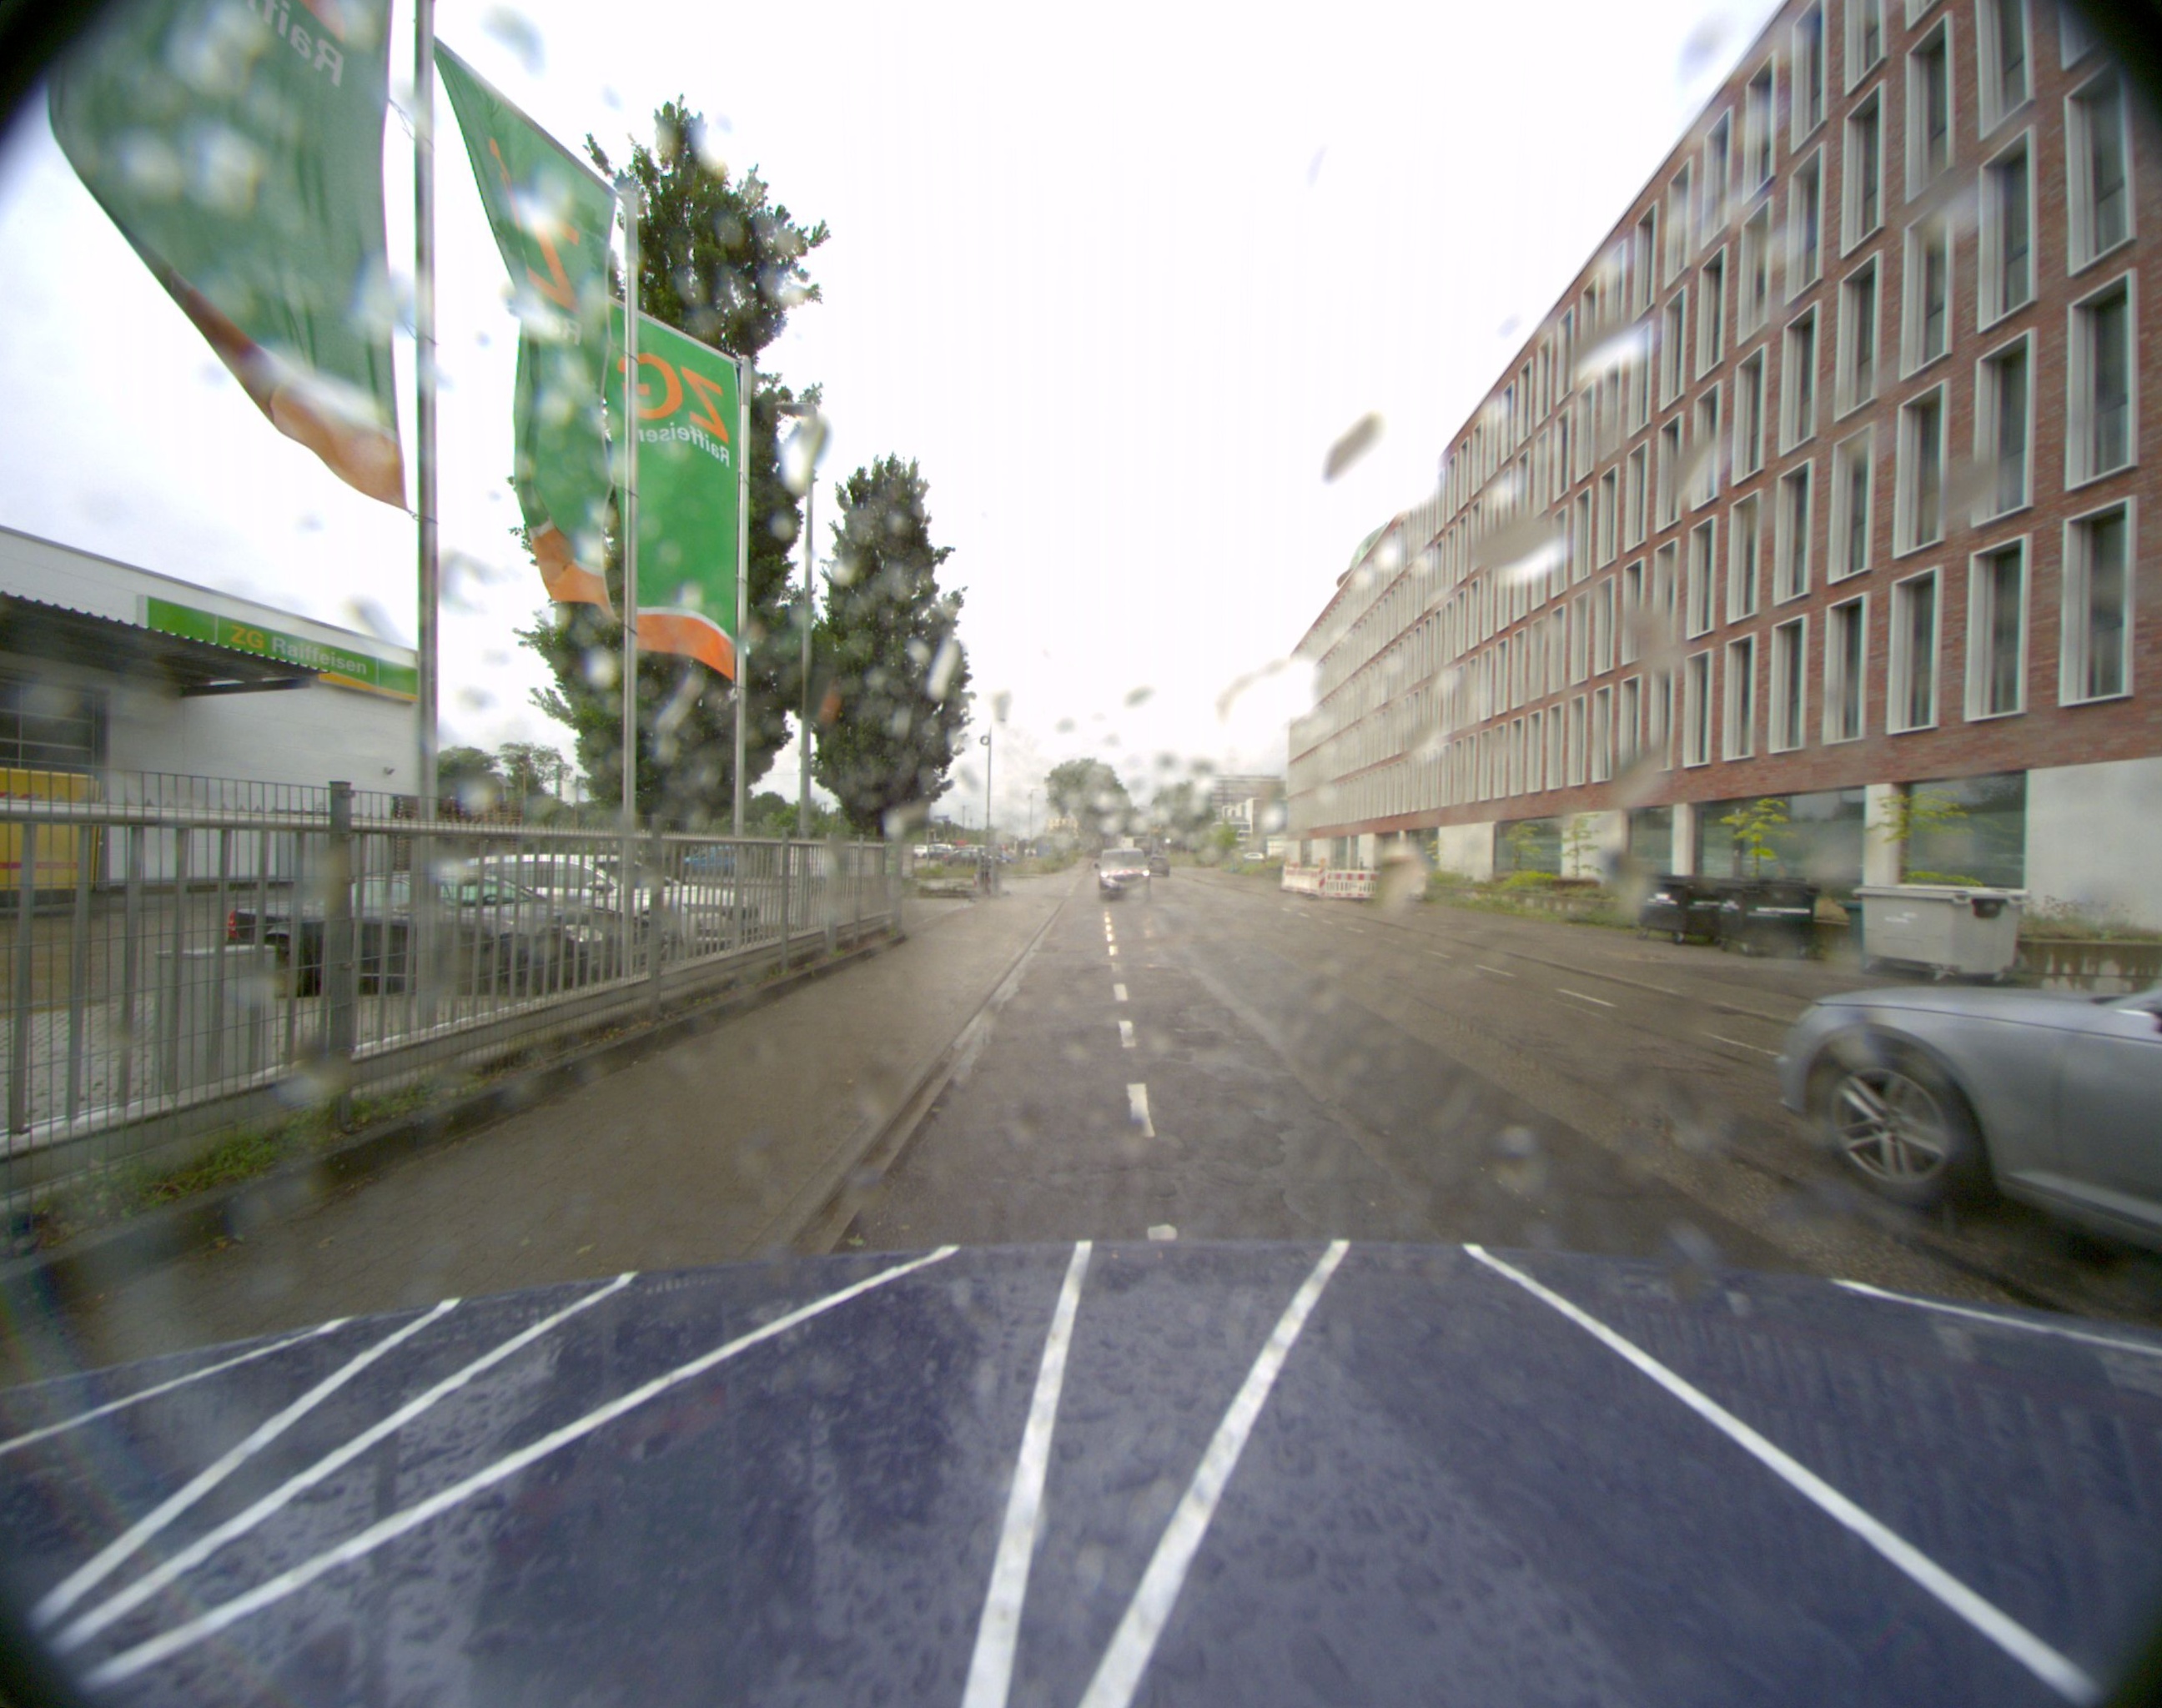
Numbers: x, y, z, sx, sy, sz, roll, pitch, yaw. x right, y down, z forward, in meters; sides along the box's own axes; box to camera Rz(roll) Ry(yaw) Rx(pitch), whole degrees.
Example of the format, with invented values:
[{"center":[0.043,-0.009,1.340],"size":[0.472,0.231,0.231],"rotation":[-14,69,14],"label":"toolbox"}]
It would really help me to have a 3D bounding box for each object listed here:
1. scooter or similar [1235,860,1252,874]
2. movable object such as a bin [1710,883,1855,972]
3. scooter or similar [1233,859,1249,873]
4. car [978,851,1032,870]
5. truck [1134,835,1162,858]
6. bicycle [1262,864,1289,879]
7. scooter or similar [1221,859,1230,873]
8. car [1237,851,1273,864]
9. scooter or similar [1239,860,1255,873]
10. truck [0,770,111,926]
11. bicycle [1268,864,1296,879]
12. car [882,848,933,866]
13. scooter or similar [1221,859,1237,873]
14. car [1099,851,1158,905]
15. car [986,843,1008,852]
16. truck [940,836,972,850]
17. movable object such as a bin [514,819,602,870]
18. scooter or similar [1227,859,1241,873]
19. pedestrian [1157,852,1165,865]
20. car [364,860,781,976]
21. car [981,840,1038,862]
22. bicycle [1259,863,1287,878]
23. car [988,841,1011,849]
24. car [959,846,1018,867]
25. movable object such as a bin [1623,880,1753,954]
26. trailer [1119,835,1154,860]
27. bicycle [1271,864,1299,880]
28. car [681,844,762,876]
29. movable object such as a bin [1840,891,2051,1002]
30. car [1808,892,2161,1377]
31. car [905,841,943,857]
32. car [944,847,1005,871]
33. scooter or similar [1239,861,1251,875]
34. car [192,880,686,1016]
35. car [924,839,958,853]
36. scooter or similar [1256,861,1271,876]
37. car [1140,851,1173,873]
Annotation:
[{"center":[14.457,1.177,67.700],"size":[1.321,1.171,0.467],"rotation":[2,1,-10],"label":"scooter or similar"},{"center":[11.802,1.192,12.880],"size":[1.375,1.301,1.451],"rotation":[1,1,23],"label":"movable object such as a bin"},{"center":[14.639,1.104,69.568],"size":[1.319,1.171,0.467],"rotation":[2,1,7],"label":"scooter or similar"},{"center":[-6.380,0.550,63.901],"size":[4.305,1.508,1.819],"rotation":[0,2,2],"label":"car"},{"center":[13.846,-1.535,157.417],"size":[3.295,4.627,6.045],"rotation":[2,1,33],"label":"truck"},{"center":[14.462,1.266,56.432],"size":[1.864,1.071,0.544],"rotation":[-1,1,1],"label":"bicycle"},{"center":[13.319,1.078,70.040],"size":[0.467,1.223,1.320],"rotation":[2,1,-1],"label":"scooter or similar"},{"center":[24.568,0.499,107.364],"size":[4.533,1.632,1.999],"rotation":[1,1,-1],"label":"car"},{"center":[15.070,1.142,68.998],"size":[1.319,1.171,0.467],"rotation":[2,1,7],"label":"scooter or similar"},{"center":[-19.599,-0.135,10.579],"size":[2.306,2.644,7.418],"rotation":[2,0,5],"label":"truck"},{"center":[14.475,1.277,54.831],"size":[1.864,1.071,0.544],"rotation":[-1,1,1],"label":"bicycle"},{"center":[-17.099,0.323,74.946],"size":[4.632,1.706,2.018],"rotation":[0,2,-4],"label":"car"},{"center":[13.141,1.078,67.386],"size":[1.317,1.223,0.468],"rotation":[2,1,31],"label":"scooter or similar"},{"center":[1.631,0.804,27.311],"size":[1.838,1.714,4.172],"rotation":[1,1,1],"label":"car"},{"center":[-16.219,-1.255,146.479],"size":[3.961,1.419,1.821],"rotation":[3,2,4],"label":"car"},{"center":[-22.731,-1.951,138.475],"size":[5.301,2.354,2.153],"rotation":[2,1,1],"label":"truck"},{"center":[-32.092,-0.571,46.685],"size":[3.997,2.975,2.000],"rotation":[1,1,1],"label":"movable object such as a bin"},{"center":[13.823,1.110,68.678],"size":[0.468,1.223,1.317],"rotation":[1,1,-27],"label":"scooter or similar"},{"center":[10.776,0.613,102.147],"size":[0.910,1.708,1.026],"rotation":[1,2,2],"label":"pedestrian"},{"center":[-7.056,0.849,10.926],"size":[4.715,1.454,1.890],"rotation":[0,0,0],"label":"car"},{"center":[-6.317,-0.315,67.512],"size":[4.690,1.725,2.128],"rotation":[2,2,6],"label":"car"},{"center":[14.452,1.259,57.249],"size":[1.953,1.071,0.620],"rotation":[-1,1,1],"label":"bicycle"},{"center":[-15.972,-1.766,149.258],"size":[4.074,1.482,1.926],"rotation":[3,2,4],"label":"car"},{"center":[-7.062,0.163,58.197],"size":[4.191,1.501,1.890],"rotation":[0,2,2],"label":"car"},{"center":[11.647,1.180,14.661],"size":[1.299,1.301,1.448],"rotation":[1,1,-4],"label":"movable object such as a bin"},{"center":[11.219,-1.290,151.108],"size":[3.297,4.627,13.752],"rotation":[2,1,20],"label":"trailer"},{"center":[14.474,1.292,53.973],"size":[1.864,1.071,0.544],"rotation":[-1,1,1],"label":"bicycle"},{"center":[-21.883,0.357,46.338],"size":[3.997,1.911,1.831],"rotation":[1,0,1],"label":"car"},{"center":[11.718,1.213,10.377],"size":[1.299,1.324,1.358],"rotation":[1,1,0],"label":"movable object such as a bin"},{"center":[4.213,0.957,1.313],"size":[1.737,1.442,4.381],"rotation":[4,0,2],"label":"car"},{"center":[-17.901,-0.593,86.721],"size":[3.837,1.476,1.928],"rotation":[4,2,5],"label":"car"},{"center":[-7.650,0.342,54.925],"size":[4.230,1.392,1.889],"rotation":[3,2,-6],"label":"car"},{"center":[14.264,1.200,66.061],"size":[0.466,1.201,1.211],"rotation":[3,1,44],"label":"scooter or similar"},{"center":[-6.674,0.944,8.211],"size":[3.948,1.249,1.619],"rotation":[0,1,0],"label":"car"},{"center":[-17.963,-1.020,97.778],"size":[3.911,1.575,1.786],"rotation":[4,2,5],"label":"car"},{"center":[15.407,1.206,64.171],"size":[1.228,1.201,0.418],"rotation":[2,1,9],"label":"scooter or similar"},{"center":[5.907,0.589,59.732],"size":[1.765,1.559,4.147],"rotation":[3,0,-5],"label":"car"}]
